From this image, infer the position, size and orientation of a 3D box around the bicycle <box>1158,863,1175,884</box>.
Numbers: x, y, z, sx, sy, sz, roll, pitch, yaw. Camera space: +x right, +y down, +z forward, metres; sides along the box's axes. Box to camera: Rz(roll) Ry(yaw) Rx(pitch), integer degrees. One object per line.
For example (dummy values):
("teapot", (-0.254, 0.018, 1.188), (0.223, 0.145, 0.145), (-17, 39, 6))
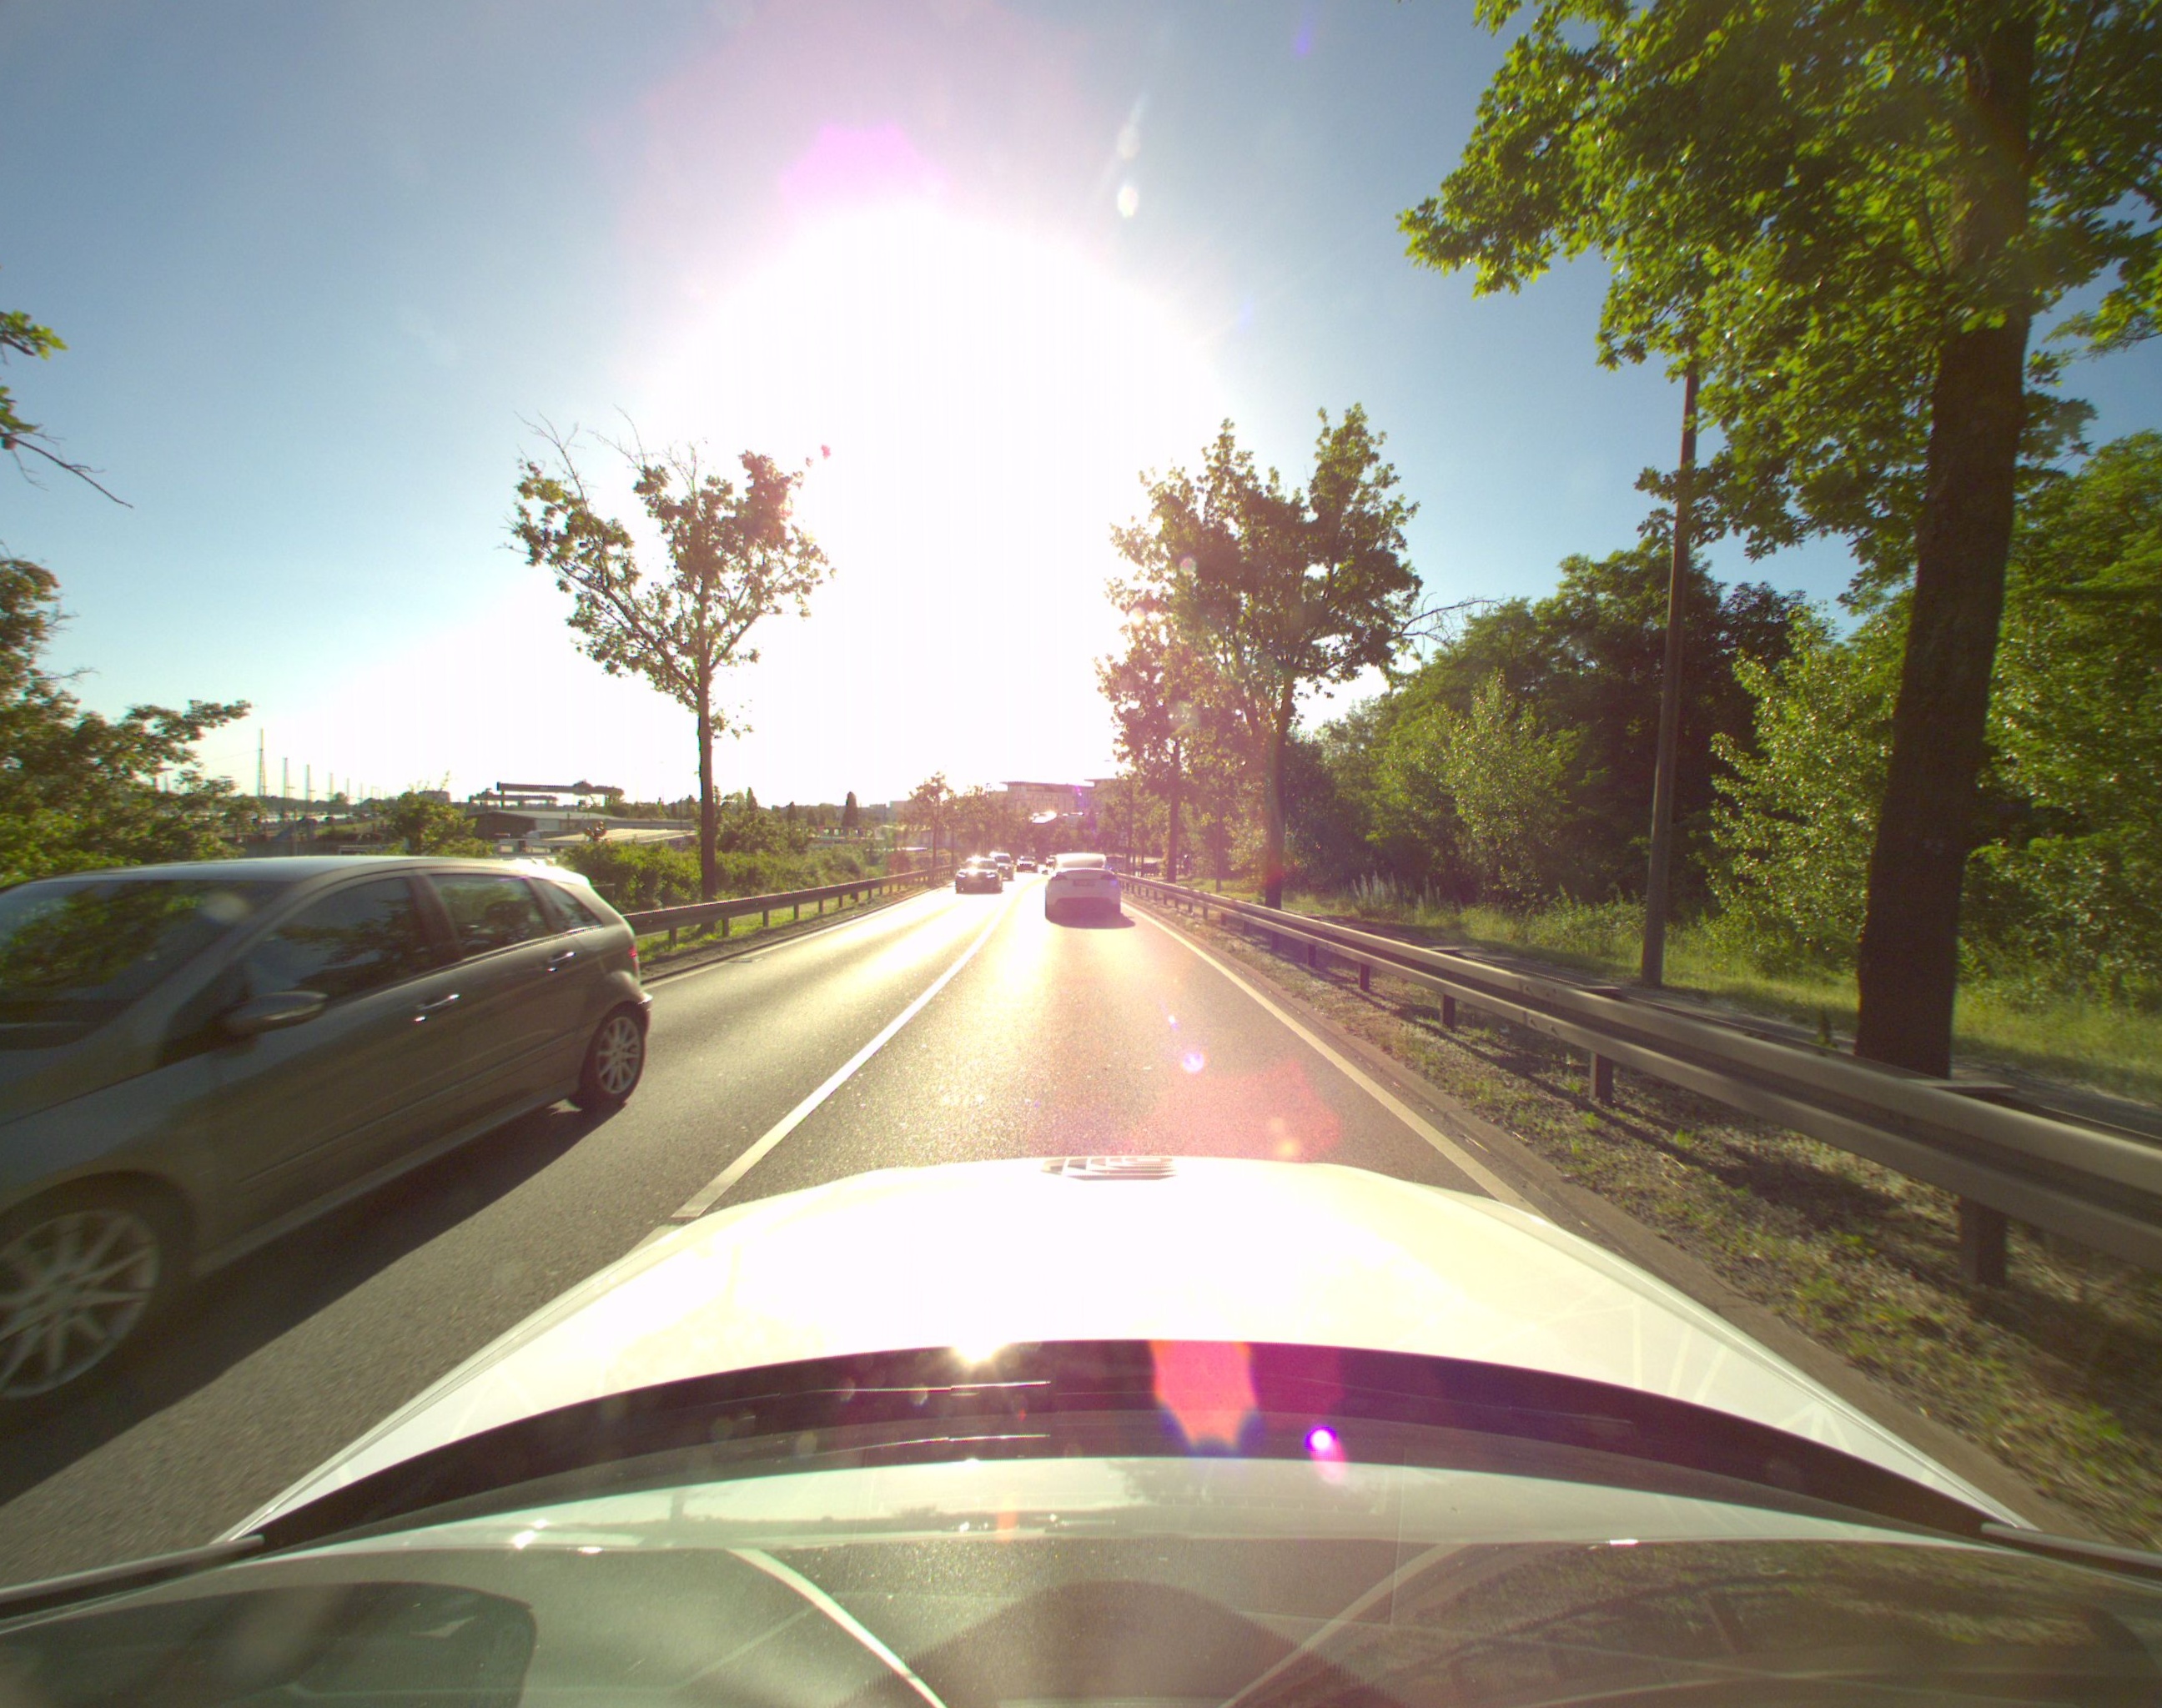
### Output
("bicycle", (4.611, 1.063, 43.972), (0.696, 1.074, 1.927), (0, -2, 12))

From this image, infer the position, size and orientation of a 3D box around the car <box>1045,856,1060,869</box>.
("car", (-3.553, 1.036, 102.681), (1.803, 1.496, 4.368), (0, 0, 0))

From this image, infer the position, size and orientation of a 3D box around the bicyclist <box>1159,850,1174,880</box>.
("bicyclist", (4.610, 0.607, 43.958), (0.703, 1.578, 1.007), (0, -1, 11))

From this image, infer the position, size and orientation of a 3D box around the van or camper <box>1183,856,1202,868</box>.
("van or camper", (19.036, 1.392, 138.648), (1.809, 1.790, 4.572), (3, 2, 27))

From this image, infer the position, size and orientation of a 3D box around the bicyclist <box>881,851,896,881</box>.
("bicyclist", (-10.650, 0.648, 45.011), (0.650, 1.623, 0.873), (0, 0, -3))

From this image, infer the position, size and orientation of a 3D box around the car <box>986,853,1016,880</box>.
("car", (-5.078, 0.764, 51.822), (1.725, 1.658, 3.977), (0, 0, -3))

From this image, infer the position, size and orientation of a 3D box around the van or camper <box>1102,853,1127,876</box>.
("van or camper", (2.918, 0.869, 70.779), (1.949, 1.884, 4.886), (0, 0, 5))

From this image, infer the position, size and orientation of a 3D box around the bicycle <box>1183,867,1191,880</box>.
("bicycle", (9.288, 1.691, 71.266), (0.691, 1.095, 2.123), (0, 0, 9))

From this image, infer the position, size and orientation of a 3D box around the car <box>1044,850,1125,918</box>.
("car", (-0.018, 0.715, 21.744), (1.910, 1.641, 4.405), (0, 0, -3))

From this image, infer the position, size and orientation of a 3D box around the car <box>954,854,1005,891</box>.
("car", (-4.437, 0.773, 36.162), (1.845, 1.491, 4.712), (0, 0, -2))

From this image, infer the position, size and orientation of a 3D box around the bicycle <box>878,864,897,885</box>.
("bicycle", (-10.646, 1.109, 44.842), (0.659, 1.095, 2.106), (0, 0, -3))

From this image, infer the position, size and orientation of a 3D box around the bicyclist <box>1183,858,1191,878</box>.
("bicyclist", (9.270, 1.233, 71.315), (0.671, 1.776, 0.950), (0, 0, 9))

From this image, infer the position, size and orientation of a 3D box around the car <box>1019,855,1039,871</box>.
("car", (-4.826, 0.833, 75.797), (1.686, 1.441, 4.214), (0, 0, -1))

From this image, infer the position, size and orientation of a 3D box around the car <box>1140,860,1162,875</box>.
("car", (7.750, 1.458, 89.994), (1.592, 1.434, 3.695), (3, 3, 17))

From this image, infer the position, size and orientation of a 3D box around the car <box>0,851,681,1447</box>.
("car", (-3.744, 0.765, 3.747), (1.804, 1.554, 4.138), (0, 0, -1))
